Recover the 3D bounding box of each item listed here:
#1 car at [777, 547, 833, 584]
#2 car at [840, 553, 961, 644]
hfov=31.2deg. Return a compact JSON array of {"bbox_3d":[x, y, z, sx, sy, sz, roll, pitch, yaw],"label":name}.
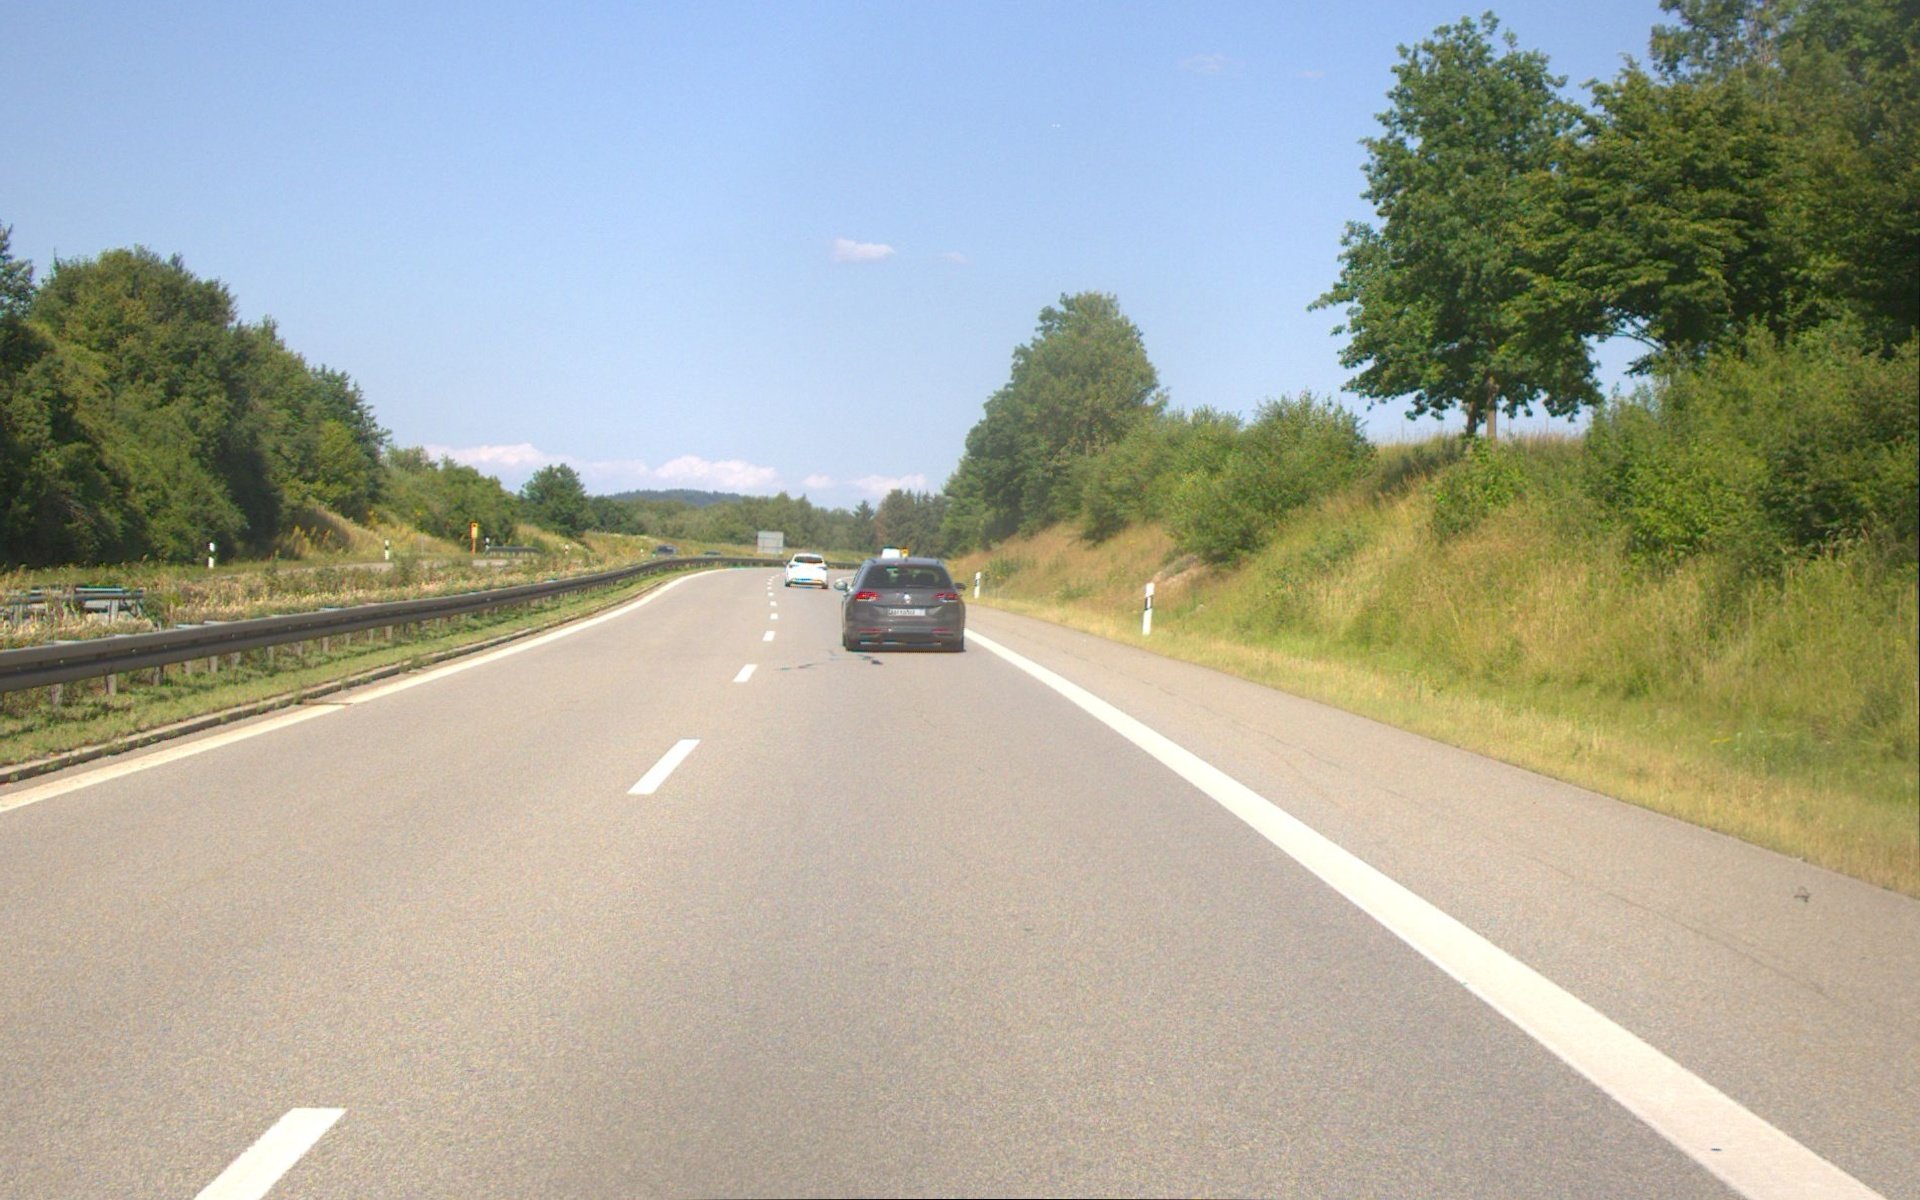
[{"bbox_3d":[-6.440,-1.426,142.196,2.007,1.340,4.001,5,0,-5],"label":"car"},{"bbox_3d":[-0.917,-0.052,52.678,1.791,1.340,4.000,0,1,-1],"label":"car"}]
